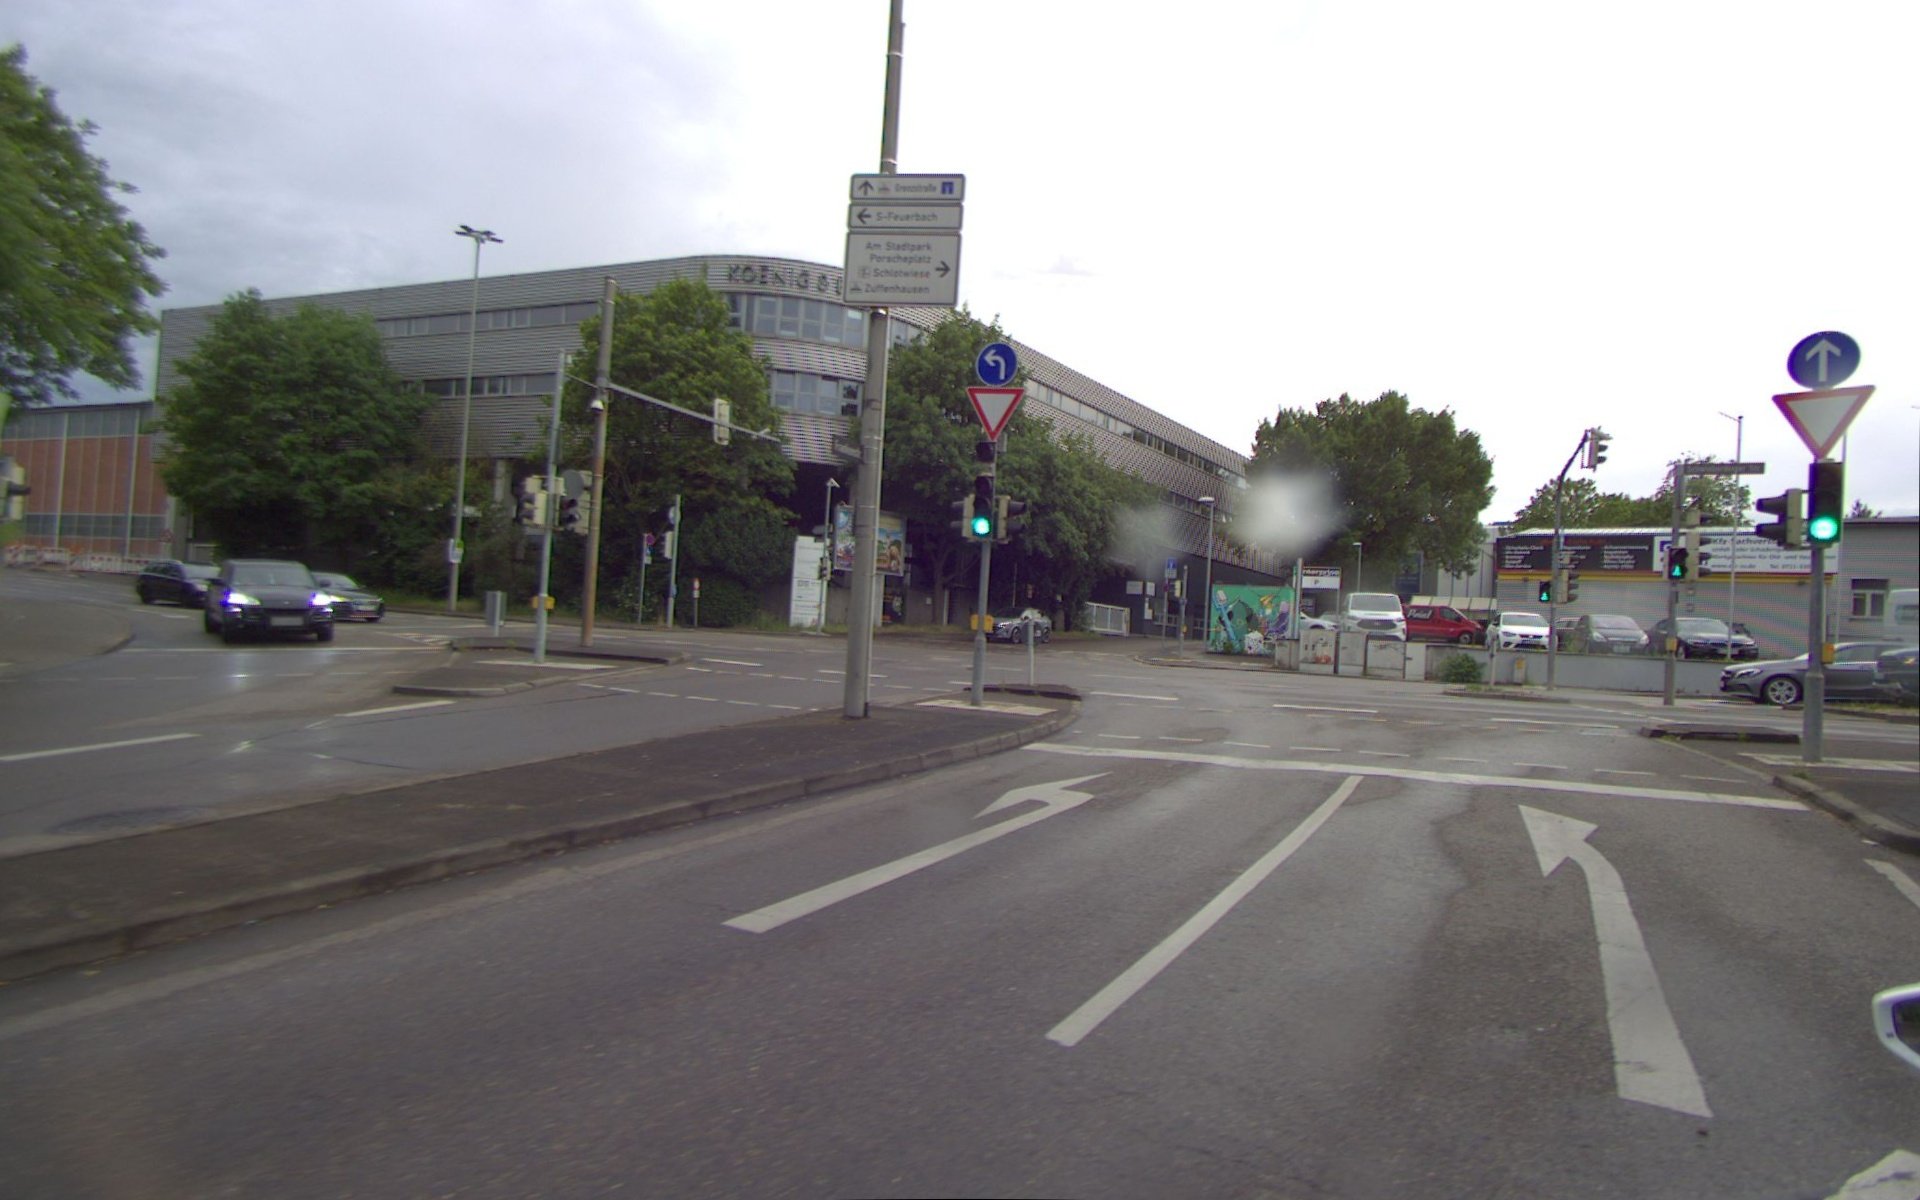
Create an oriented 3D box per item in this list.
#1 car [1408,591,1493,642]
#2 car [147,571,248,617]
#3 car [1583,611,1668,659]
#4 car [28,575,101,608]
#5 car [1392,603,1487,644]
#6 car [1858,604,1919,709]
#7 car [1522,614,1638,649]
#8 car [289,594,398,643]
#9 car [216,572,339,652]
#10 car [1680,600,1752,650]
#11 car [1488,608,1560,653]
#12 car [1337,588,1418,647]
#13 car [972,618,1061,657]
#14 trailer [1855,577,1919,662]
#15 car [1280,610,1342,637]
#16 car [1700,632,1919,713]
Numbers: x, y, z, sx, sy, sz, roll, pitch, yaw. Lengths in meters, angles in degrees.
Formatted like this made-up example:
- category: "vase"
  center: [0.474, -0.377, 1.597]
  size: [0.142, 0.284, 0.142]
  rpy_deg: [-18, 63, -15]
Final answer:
- category: "car"
  center: [26.591, 0.895, 54.510]
  size: [3.918, 2.530, 1.650]
  rpy_deg: [2, -3, 32]
- category: "car"
  center: [-25.070, -0.207, 32.976]
  size: [3.697, 1.388, 1.747]
  rpy_deg: [2, 1, 38]
- category: "car"
  center: [21.078, 1.062, 31.943]
  size: [1.709, 1.387, 3.620]
  rpy_deg: [1, 0, 25]
- category: "car"
  center: [-41.135, -0.402, 46.136]
  size: [3.695, 1.388, 1.748]
  rpy_deg: [2, 1, 36]
- category: "car"
  center: [24.680, 1.220, 51.720]
  size: [4.236, 1.885, 1.737]
  rpy_deg: [2, -3, 32]
- category: "car"
  center: [19.322, 1.071, 17.534]
  size: [5.073, 1.842, 1.939]
  rpy_deg: [0, -3, 26]
- category: "car"
  center: [27.323, 1.391, 44.341]
  size: [4.271, 1.424, 1.369]
  rpy_deg: [-1, -4, 36]
- category: "car"
  center: [-18.548, 0.527, 30.181]
  size: [3.697, 1.276, 1.591]
  rpy_deg: [2, 1, 38]
- category: "car"
  center: [-15.117, 0.216, 22.156]
  size: [1.936, 1.564, 4.164]
  rpy_deg: [1, 1, -39]
- category: "car"
  center: [23.267, 0.763, 30.991]
  size: [1.204, 1.443, 2.684]
  rpy_deg: [1, 0, 25]
- category: "car"
  center: [19.123, 0.997, 34.173]
  size: [1.838, 1.387, 3.620]
  rpy_deg: [1, 0, 25]
- category: "car"
  center: [14.932, 0.699, 36.183]
  size: [2.176, 1.825, 5.375]
  rpy_deg: [2, -2, 18]
- category: "car"
  center: [2.646, 1.674, 46.156]
  size: [2.002, 1.621, 4.365]
  rpy_deg: [1, 0, 37]
- category: "trailer"
  center: [30.663, 0.640, 31.051]
  size: [2.349, 2.459, 7.118]
  rpy_deg: [2, -3, 24]
- category: "car"
  center: [16.490, 1.094, 47.232]
  size: [2.668, 1.119, 1.198]
  rpy_deg: [2, -2, 21]
- category: "car"
  center: [18.487, 1.540, 21.491]
  size: [3.993, 1.478, 1.546]
  rpy_deg: [2, -2, 25]
